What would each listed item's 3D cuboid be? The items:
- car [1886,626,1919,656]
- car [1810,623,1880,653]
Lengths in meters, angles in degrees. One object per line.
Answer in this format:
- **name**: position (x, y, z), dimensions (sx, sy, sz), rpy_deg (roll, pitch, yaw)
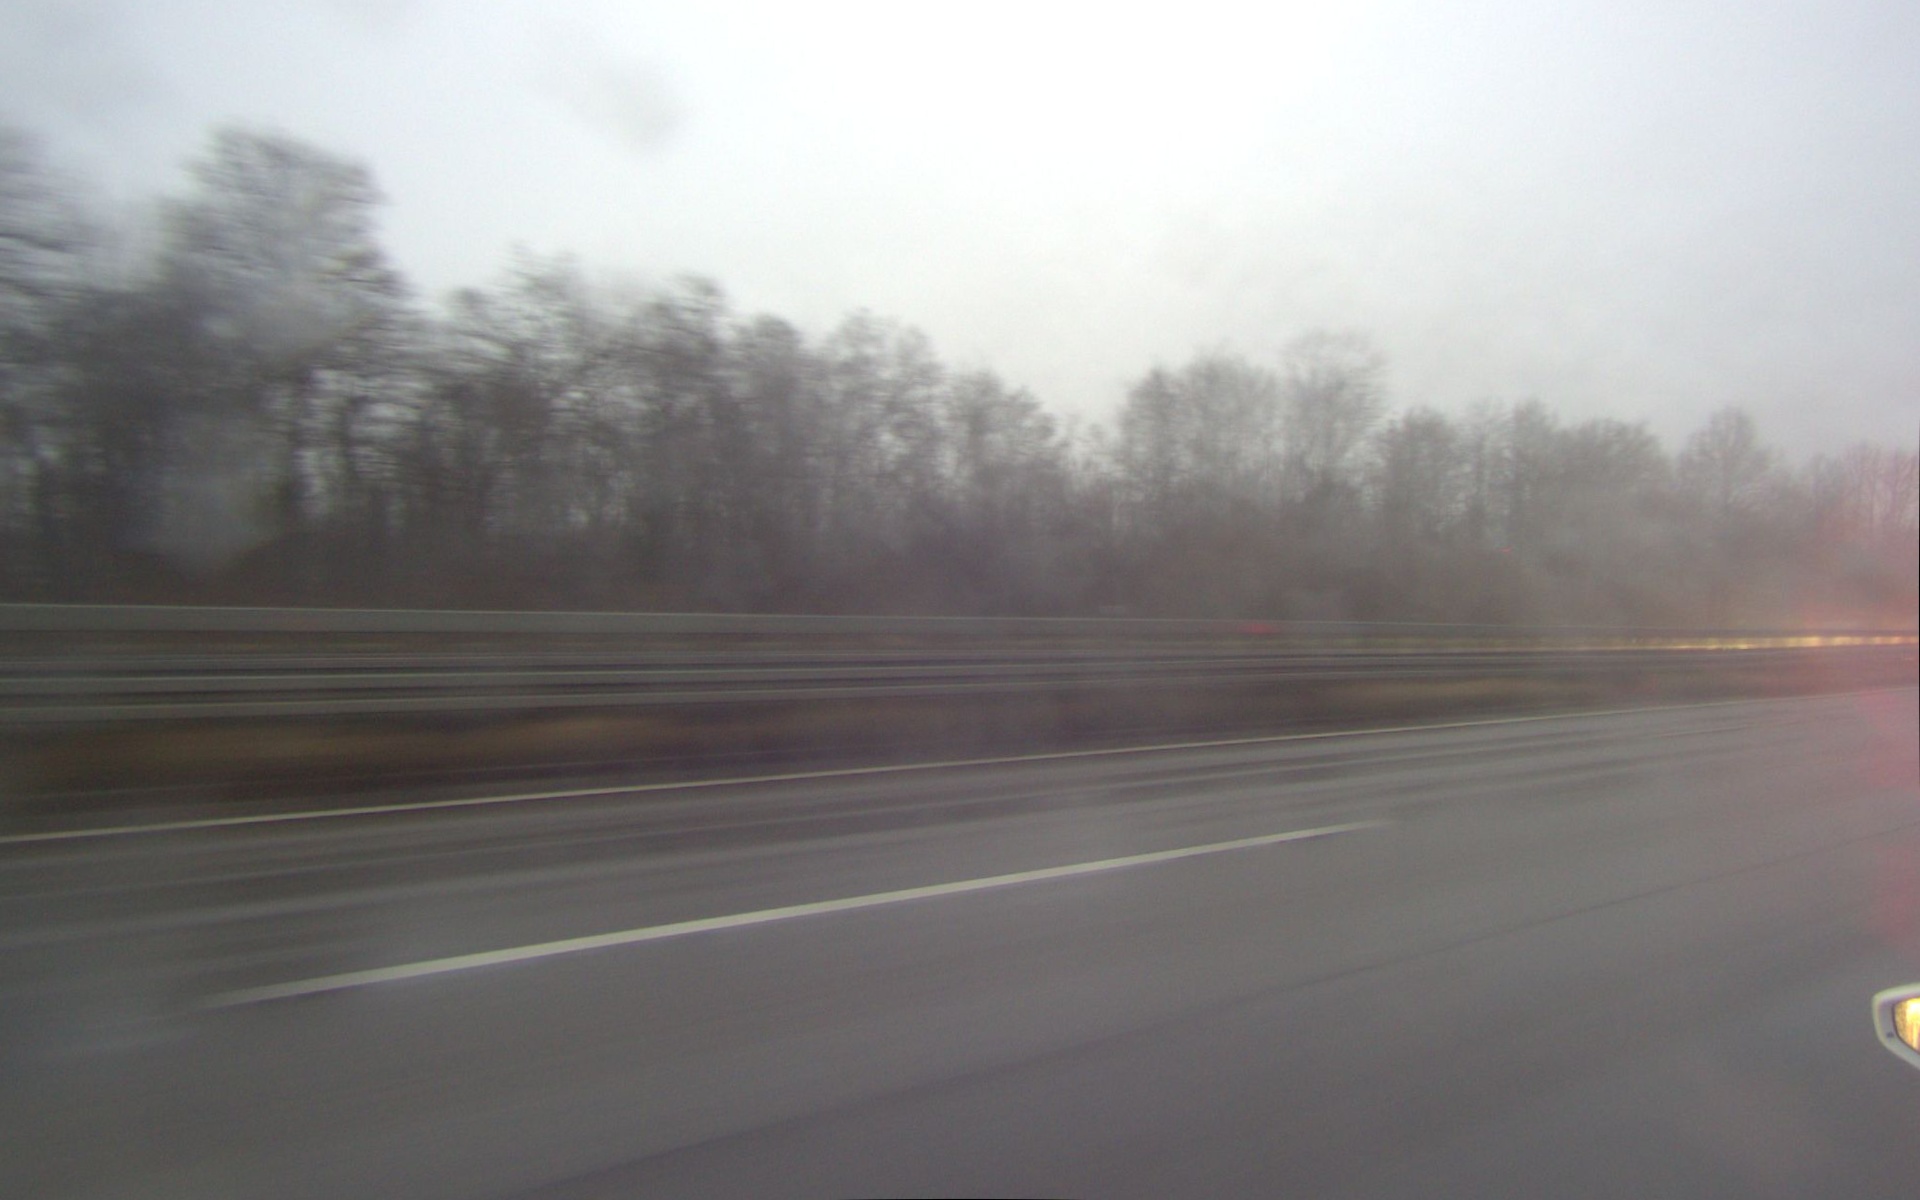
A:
- **car**: position (48.672, 2.118, 50.922), dimensions (3.801, 1.394, 1.565), rpy_deg (3, 0, -33)
- **car**: position (48.029, 2.082, 54.505), dimensions (4.732, 1.394, 1.565), rpy_deg (3, 0, -33)
